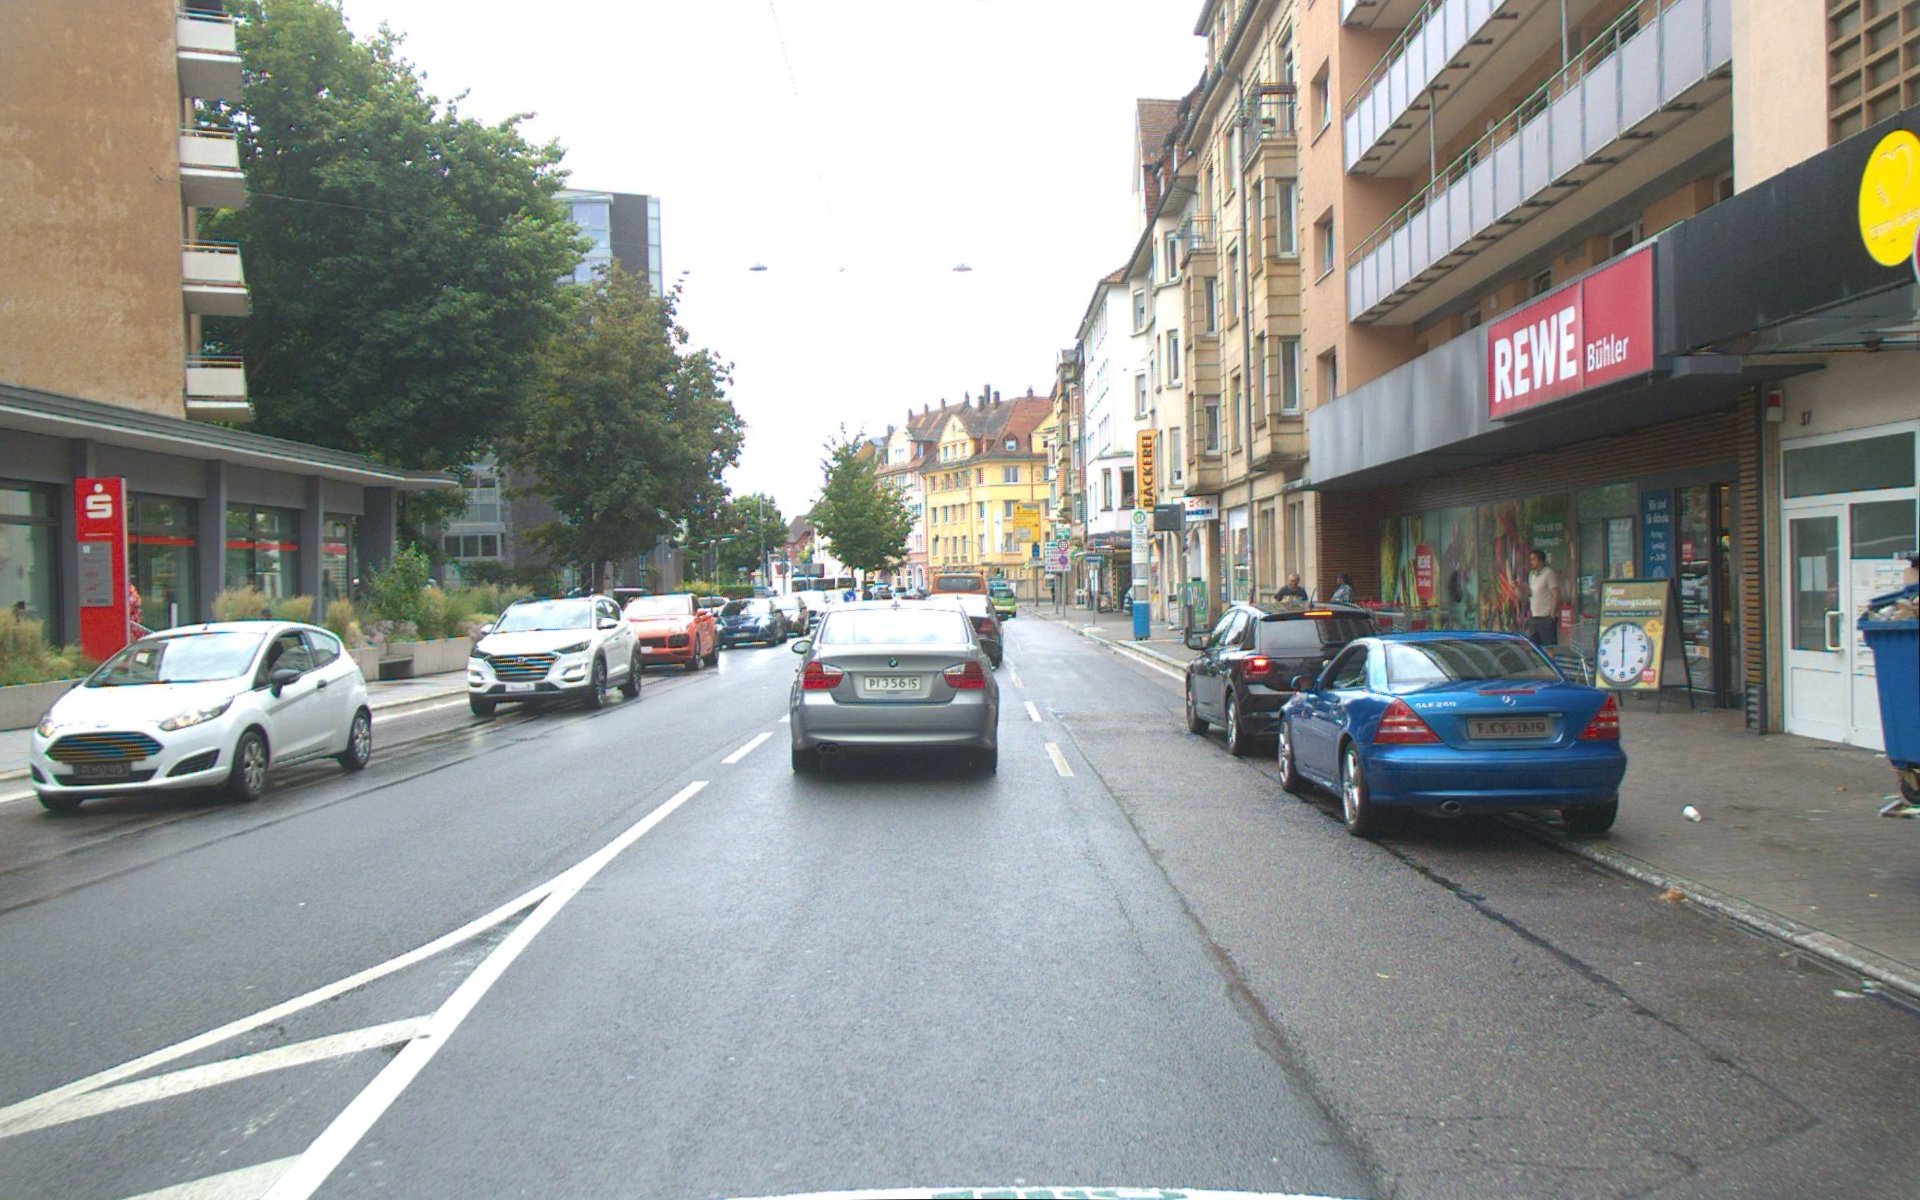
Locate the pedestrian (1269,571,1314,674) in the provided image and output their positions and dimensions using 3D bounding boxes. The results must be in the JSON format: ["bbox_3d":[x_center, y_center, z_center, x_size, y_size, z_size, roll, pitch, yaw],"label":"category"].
[{"bbox_3d":[5.548,0.368,27.688,0.612,1.680,0.749,-1,3,2],"label":"pedestrian"}]

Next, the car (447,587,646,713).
[{"bbox_3d":[-6.002,0.697,24.496,1.856,1.601,4.124,-3,0,0],"label":"car"}]

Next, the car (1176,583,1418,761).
[{"bbox_3d":[3.390,0.649,17.340,1.694,1.574,3.982,2,1,0],"label":"car"}]

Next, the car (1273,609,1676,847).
[{"bbox_3d":[3.415,0.772,11.720,1.699,1.333,3.767,-1,1,0],"label":"car"}]

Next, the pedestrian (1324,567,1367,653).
[{"bbox_3d":[7.306,0.180,31.377,0.552,1.600,0.624,-1,0,-16],"label":"pedestrian"}]

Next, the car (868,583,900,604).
[{"bbox_3d":[-7.568,-0.656,163.889,1.965,2.049,3.975,-1,0,-21],"label":"car"}]

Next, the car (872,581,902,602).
[{"bbox_3d":[-7.851,-0.936,177.270,1.739,2.218,3.968,2,0,-25],"label":"car"}]

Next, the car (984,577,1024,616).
[{"bbox_3d":[2.367,-0.200,89.898,1.953,2.049,3.999,-1,0,-1],"label":"car"}]

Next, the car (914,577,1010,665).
[{"bbox_3d":[0.005,0.403,32.570,1.763,1.590,3.999,-1,0,-1],"label":"car"}]

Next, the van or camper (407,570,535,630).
[{"bbox_3d":[-19.570,-0.008,66.168,4.553,2.306,2.190,1,0,-29],"label":"van or camper"}]

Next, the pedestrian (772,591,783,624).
[{"bbox_3d":[-9.890,0.418,89.659,0.563,1.793,0.580,-1,0,-6],"label":"pedestrian"}]

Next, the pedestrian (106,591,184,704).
[{"bbox_3d":[-12.581,0.723,25.541,0.697,1.708,0.799,-1,0,28],"label":"pedestrian"}]

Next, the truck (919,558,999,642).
[{"bbox_3d":[-0.032,-0.025,47.898,2.179,2.289,5.062,0,0,0],"label":"truck"}]

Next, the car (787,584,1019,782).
[{"bbox_3d":[-0.472,0.652,14.864,1.763,1.490,4.369,-1,0,-1],"label":"car"}]

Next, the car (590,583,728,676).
[{"bbox_3d":[-6.499,0.619,36.300,2.063,1.795,5.059,-3,0,0],"label":"car"}]

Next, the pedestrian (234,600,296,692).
[{"bbox_3d":[-11.185,0.736,26.620,0.580,1.445,0.723,-1,0,34],"label":"pedestrian"}]

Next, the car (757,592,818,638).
[{"bbox_3d":[-6.317,0.516,60.946,1.915,1.584,4.242,1,0,-2],"label":"car"}]

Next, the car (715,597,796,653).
[{"bbox_3d":[-6.305,0.731,51.427,1.915,1.538,4.912,-3,1,-1],"label":"car"}]

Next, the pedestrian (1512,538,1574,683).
[{"bbox_3d":[7.773,0.144,22.071,0.583,1.891,0.727,-1,-1,3],"label":"pedestrian"}]

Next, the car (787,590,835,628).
[{"bbox_3d":[-6.381,0.366,71.186,1.783,1.596,4.088,0,0,-1],"label":"car"}]

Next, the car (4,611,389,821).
[{"bbox_3d":[-6.437,0.894,14.433,1.582,1.489,3.806,-1,1,0],"label":"car"}]

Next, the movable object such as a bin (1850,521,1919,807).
[{"bbox_3d":[6.584,0.396,10.615,0.979,1.824,1.296,-1,-1,-2],"label":"movable object such as a bin"}]

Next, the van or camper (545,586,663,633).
[{"bbox_3d":[-16.050,0.397,74.596,4.898,2.049,1.980,0,0,-30],"label":"van or camper"}]

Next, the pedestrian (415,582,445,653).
[{"bbox_3d":[-13.699,0.447,42.708,0.646,1.789,0.716,-1,0,-23],"label":"pedestrian"}]

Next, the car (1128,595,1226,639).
[{"bbox_3d":[9.203,0.701,70.181,4.049,1.803,1.875,-1,0,8],"label":"car"}]

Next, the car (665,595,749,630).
[{"bbox_3d":[-11.818,0.580,77.302,3.544,1.597,1.721,0,0,-33],"label":"car"}]

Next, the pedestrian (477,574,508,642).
[{"bbox_3d":[-12.977,0.206,45.894,0.711,1.858,0.849,-1,1,-23],"label":"pedestrian"}]

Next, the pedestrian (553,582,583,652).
[{"bbox_3d":[-10.585,0.454,44.638,0.710,1.858,0.718,0,1,-19],"label":"pedestrian"}]
